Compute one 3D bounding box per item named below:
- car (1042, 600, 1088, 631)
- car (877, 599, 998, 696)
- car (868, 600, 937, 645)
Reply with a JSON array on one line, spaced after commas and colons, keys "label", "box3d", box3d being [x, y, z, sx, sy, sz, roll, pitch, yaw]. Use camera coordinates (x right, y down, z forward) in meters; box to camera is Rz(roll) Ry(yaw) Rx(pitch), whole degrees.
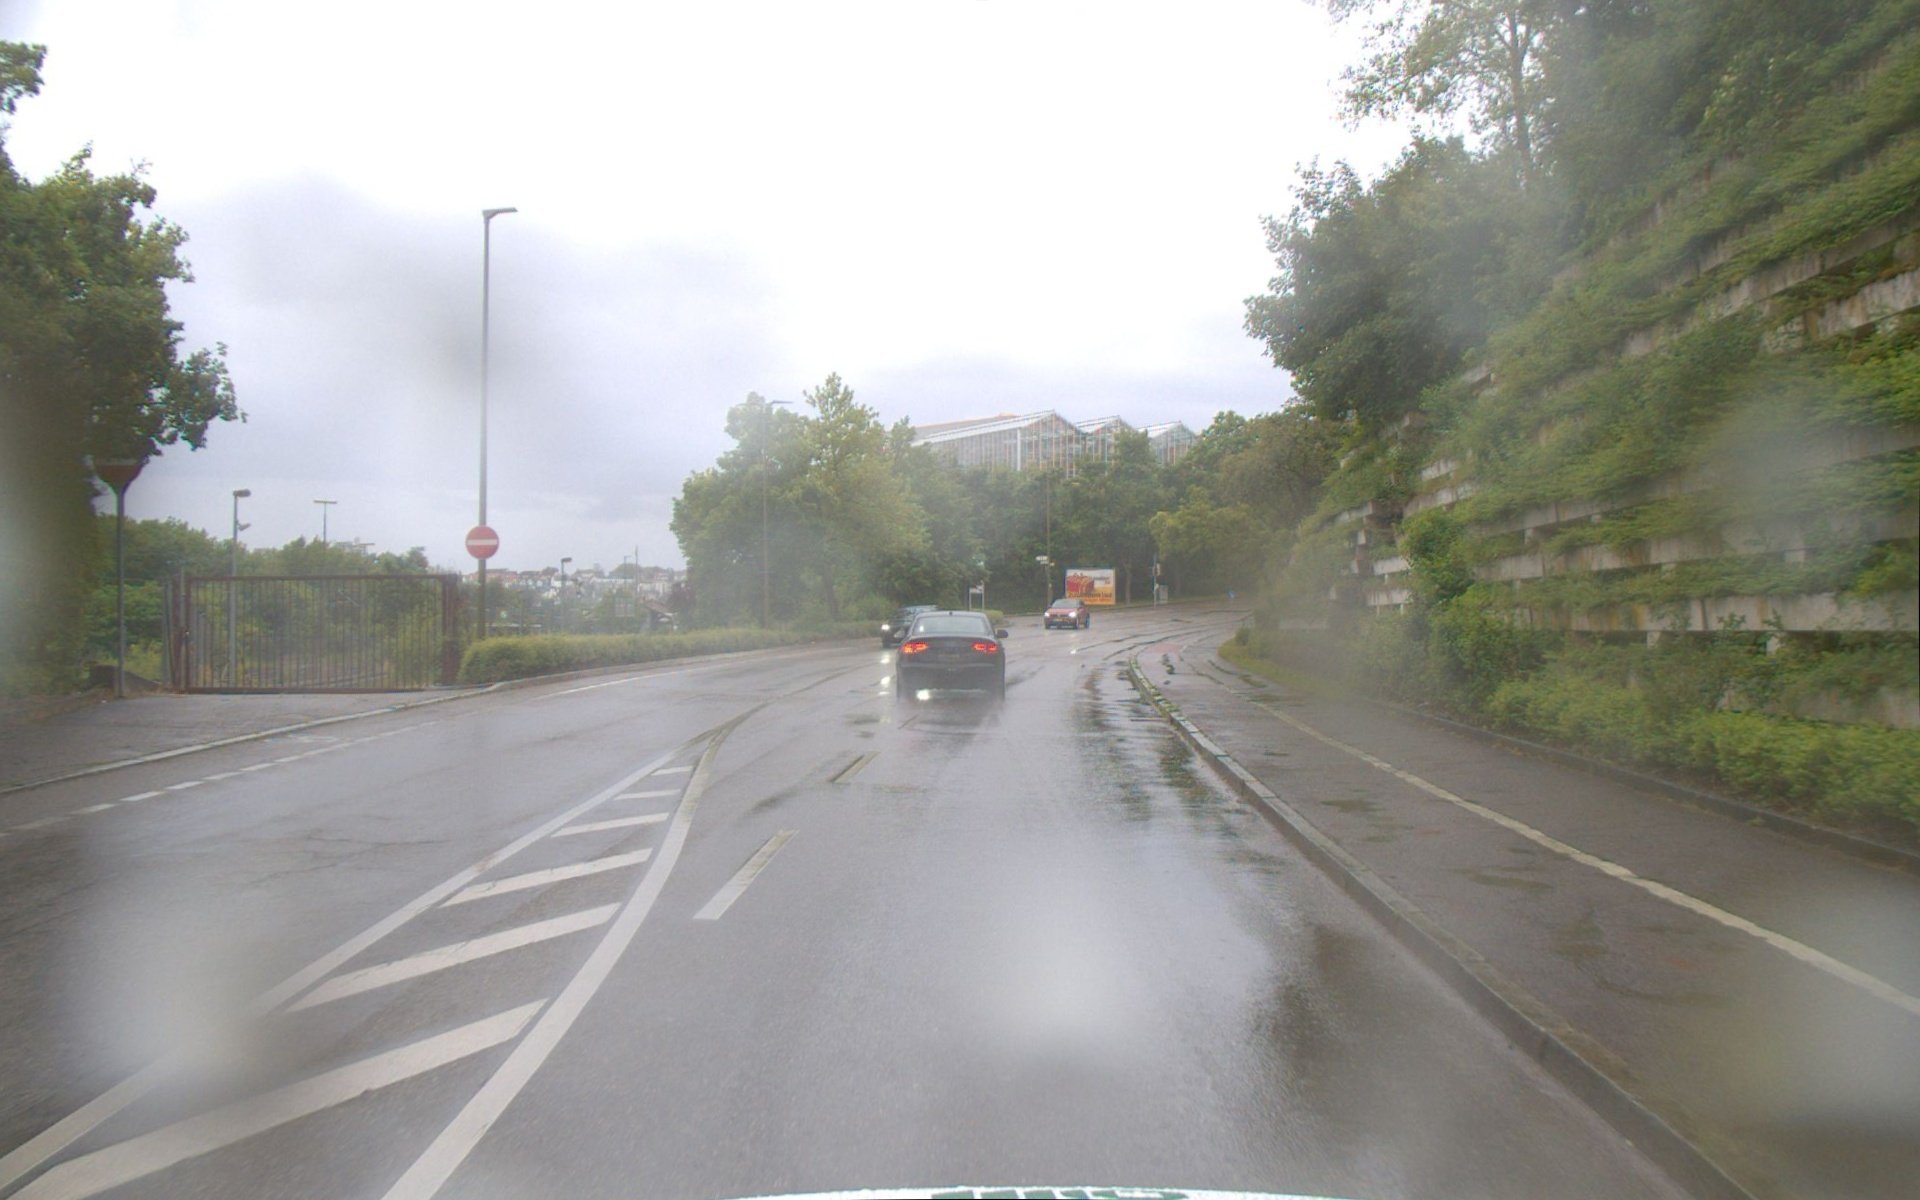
[{"label": "car", "box3d": [5.605, 0.816, 88.090, 1.717, 1.562, 4.003, 0, 1, 14]}, {"label": "car", "box3d": [-0.294, 0.723, 27.114, 1.718, 1.420, 4.002, 0, 1, 3]}, {"label": "car", "box3d": [-2.101, 0.765, 59.154, 1.693, 1.488, 4.530, 2, 0, -12]}]
